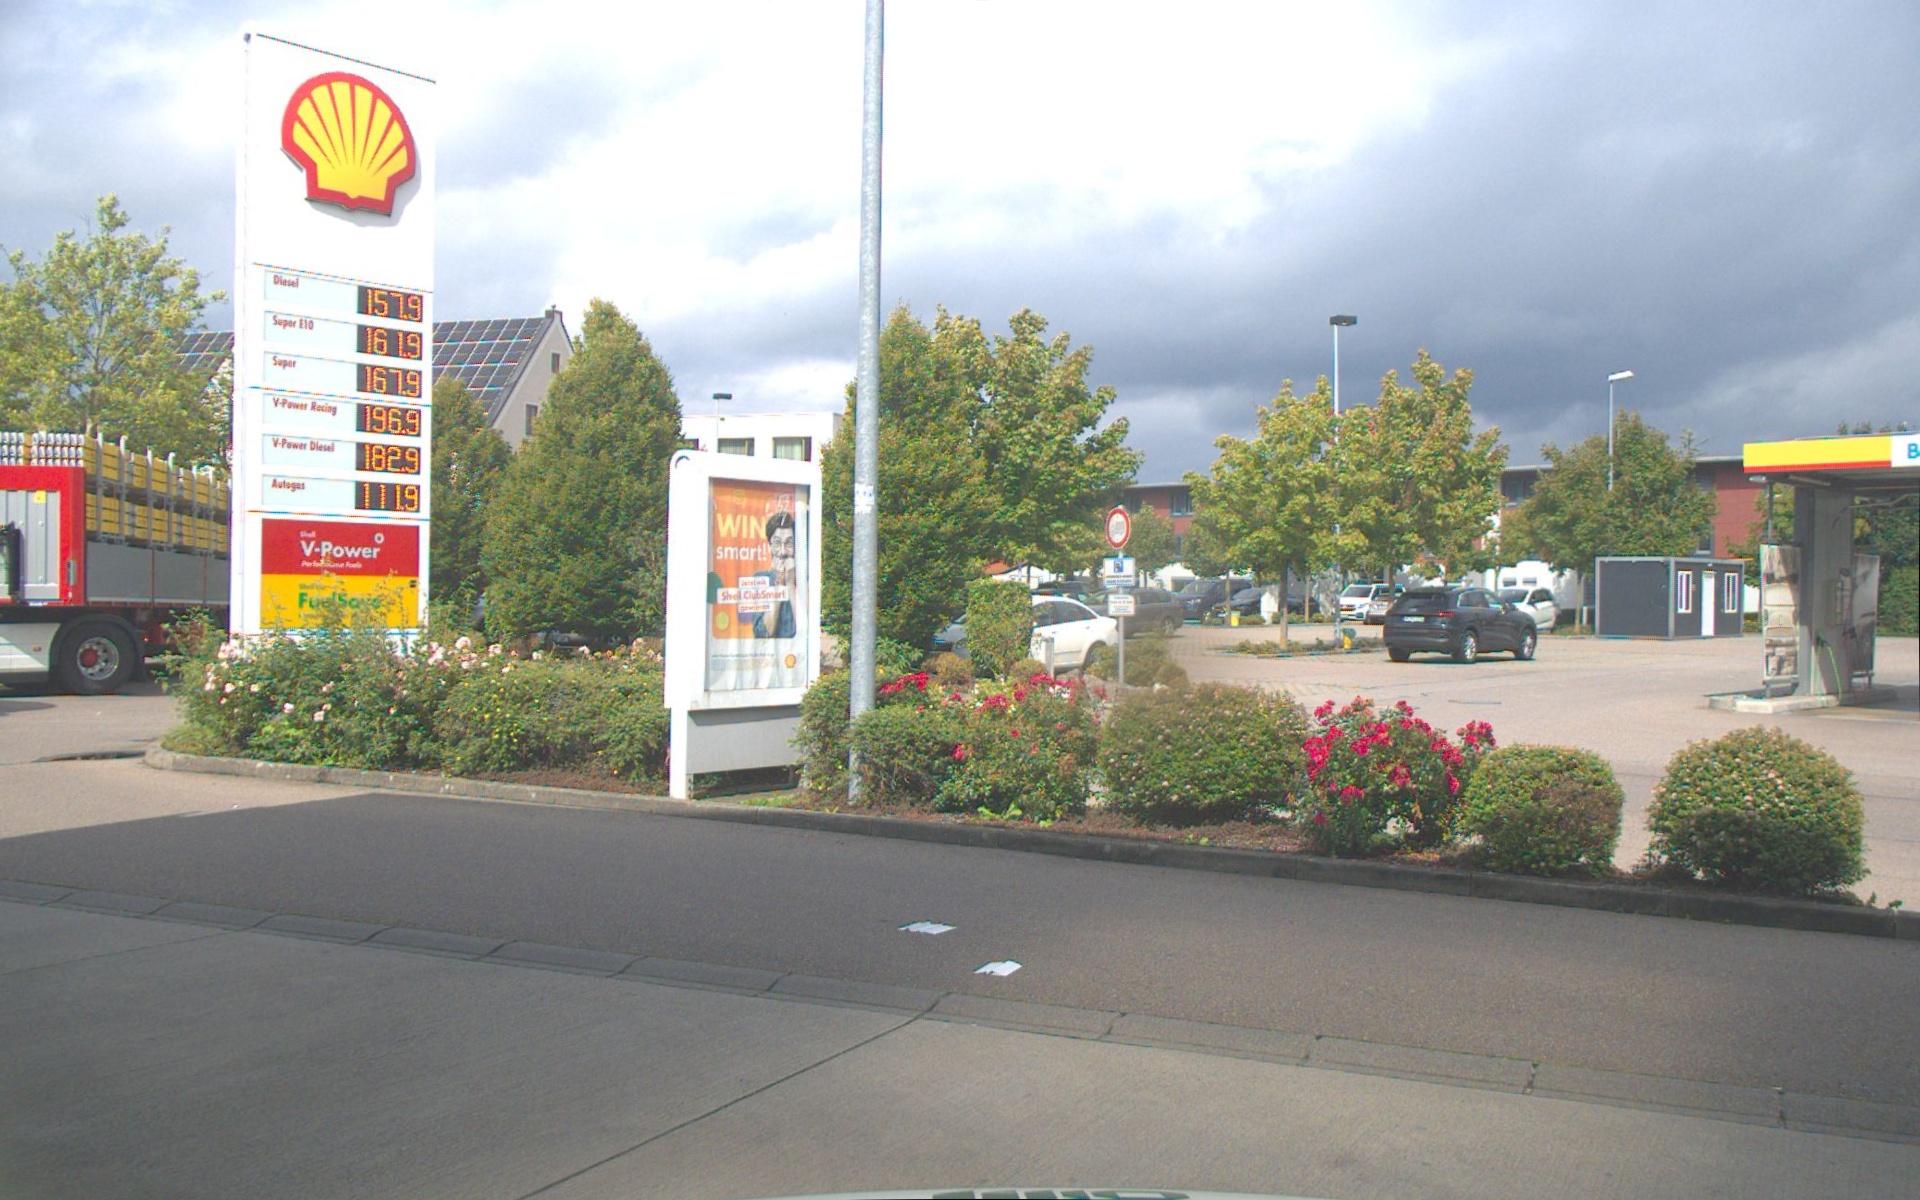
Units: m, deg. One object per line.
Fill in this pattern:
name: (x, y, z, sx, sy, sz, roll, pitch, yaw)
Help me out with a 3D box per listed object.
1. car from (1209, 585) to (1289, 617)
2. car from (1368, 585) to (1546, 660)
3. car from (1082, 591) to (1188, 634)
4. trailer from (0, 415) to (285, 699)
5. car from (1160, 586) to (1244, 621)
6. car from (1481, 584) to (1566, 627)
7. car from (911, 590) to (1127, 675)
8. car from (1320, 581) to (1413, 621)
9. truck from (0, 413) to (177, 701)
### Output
car: (11.415, 0.050, 65.208, 3.393, 1.199, 1.462, 1, 0, -45)
car: (11.135, 0.494, 36.891, 4.467, 1.575, 1.856, 1, 0, -44)
car: (5.282, 0.375, 49.790, 3.203, 1.249, 1.481, 1, 0, -45)
trailer: (-14.498, -0.585, 28.546, 2.681, 3.842, 12.680, 1, 0, -10)
car: (9.814, 0.154, 66.930, 3.364, 1.343, 1.719, 1, 0, -45)
car: (18.011, 0.179, 52.805, 3.080, 1.330, 1.346, 1, -1, -45)
car: (1.138, 0.583, 29.934, 1.348, 1.428, 4.312, 1, -1, 45)
car: (19.917, 0.046, 80.945, 4.839, 1.865, 2.150, 1, 0, -44)
truck: (-14.429, -0.610, 22.891, 2.691, 3.913, 5.886, 1, -1, 40)
